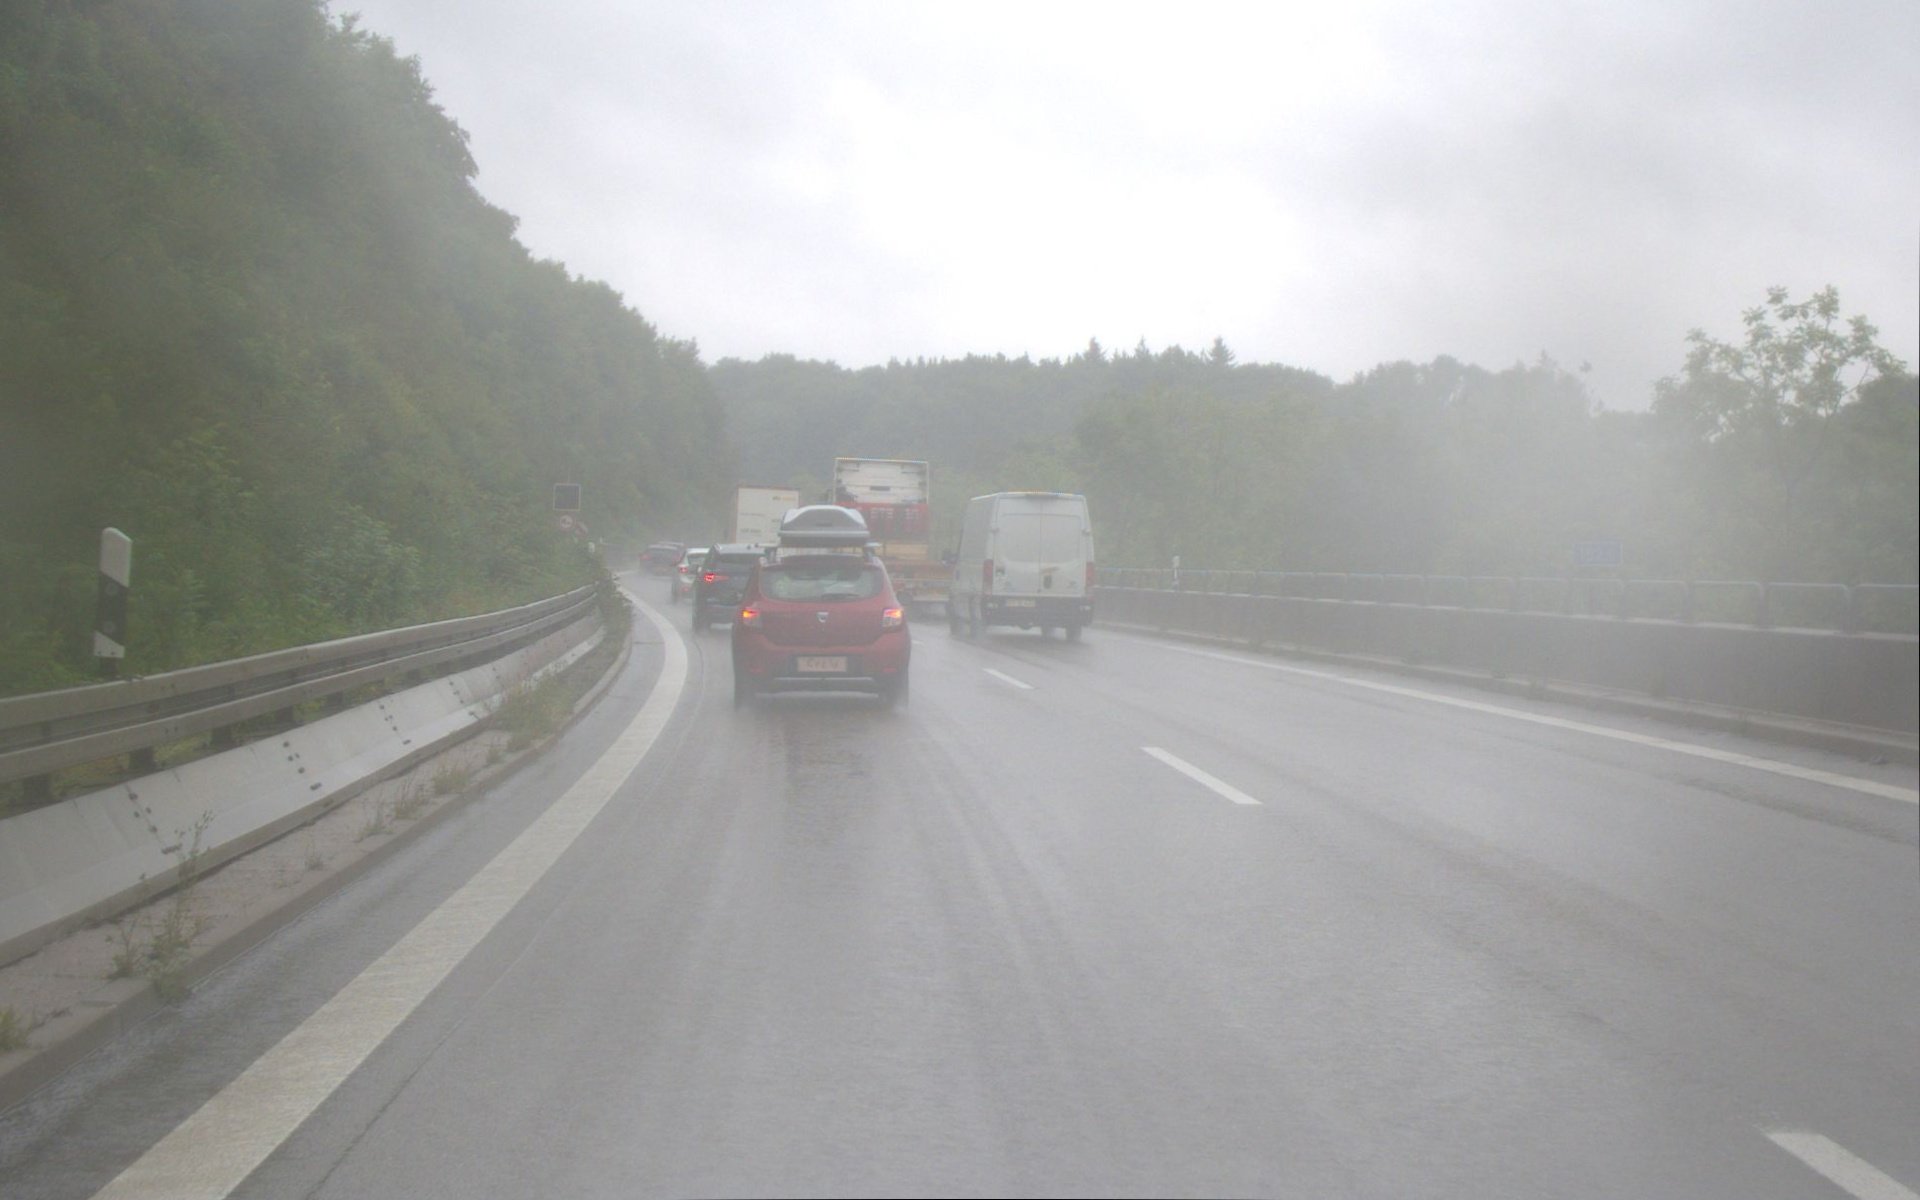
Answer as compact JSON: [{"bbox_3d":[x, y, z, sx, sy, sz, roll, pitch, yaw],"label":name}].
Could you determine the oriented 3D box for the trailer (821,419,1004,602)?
[{"bbox_3d":[-1.330,-2.097,83.946,3.218,3.985,13.526,2,1,-5],"label":"trailer"}]

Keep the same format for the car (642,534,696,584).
[{"bbox_3d":[-12.047,-1.689,142.500,1.993,2.007,4.000,0,0,-2],"label":"car"}]

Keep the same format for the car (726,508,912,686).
[{"bbox_3d":[-1.410,-0.045,34.554,1.758,1.679,4.000,0,0,-2],"label":"car"}]

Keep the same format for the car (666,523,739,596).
[{"bbox_3d":[-6.618,-1.021,87.995,1.715,1.811,3.893,0,0,-6],"label":"car"}]

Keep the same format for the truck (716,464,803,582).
[{"bbox_3d":[-8.266,-3.086,141.105,3.222,4.666,8.301,0,0,-6],"label":"truck"}]

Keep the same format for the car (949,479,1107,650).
[{"bbox_3d":[1.153,-0.652,62.419,2.206,2.784,7.383,4,1,-3],"label":"car"}]

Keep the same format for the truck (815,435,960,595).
[{"bbox_3d":[-1.961,-2.200,90.429,3.219,3.964,5.440,2,0,-6],"label":"truck"}]

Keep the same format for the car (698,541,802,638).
[{"bbox_3d":[-3.795,-0.201,62.241,1.823,1.690,4.000,0,0,-3],"label":"car"}]
